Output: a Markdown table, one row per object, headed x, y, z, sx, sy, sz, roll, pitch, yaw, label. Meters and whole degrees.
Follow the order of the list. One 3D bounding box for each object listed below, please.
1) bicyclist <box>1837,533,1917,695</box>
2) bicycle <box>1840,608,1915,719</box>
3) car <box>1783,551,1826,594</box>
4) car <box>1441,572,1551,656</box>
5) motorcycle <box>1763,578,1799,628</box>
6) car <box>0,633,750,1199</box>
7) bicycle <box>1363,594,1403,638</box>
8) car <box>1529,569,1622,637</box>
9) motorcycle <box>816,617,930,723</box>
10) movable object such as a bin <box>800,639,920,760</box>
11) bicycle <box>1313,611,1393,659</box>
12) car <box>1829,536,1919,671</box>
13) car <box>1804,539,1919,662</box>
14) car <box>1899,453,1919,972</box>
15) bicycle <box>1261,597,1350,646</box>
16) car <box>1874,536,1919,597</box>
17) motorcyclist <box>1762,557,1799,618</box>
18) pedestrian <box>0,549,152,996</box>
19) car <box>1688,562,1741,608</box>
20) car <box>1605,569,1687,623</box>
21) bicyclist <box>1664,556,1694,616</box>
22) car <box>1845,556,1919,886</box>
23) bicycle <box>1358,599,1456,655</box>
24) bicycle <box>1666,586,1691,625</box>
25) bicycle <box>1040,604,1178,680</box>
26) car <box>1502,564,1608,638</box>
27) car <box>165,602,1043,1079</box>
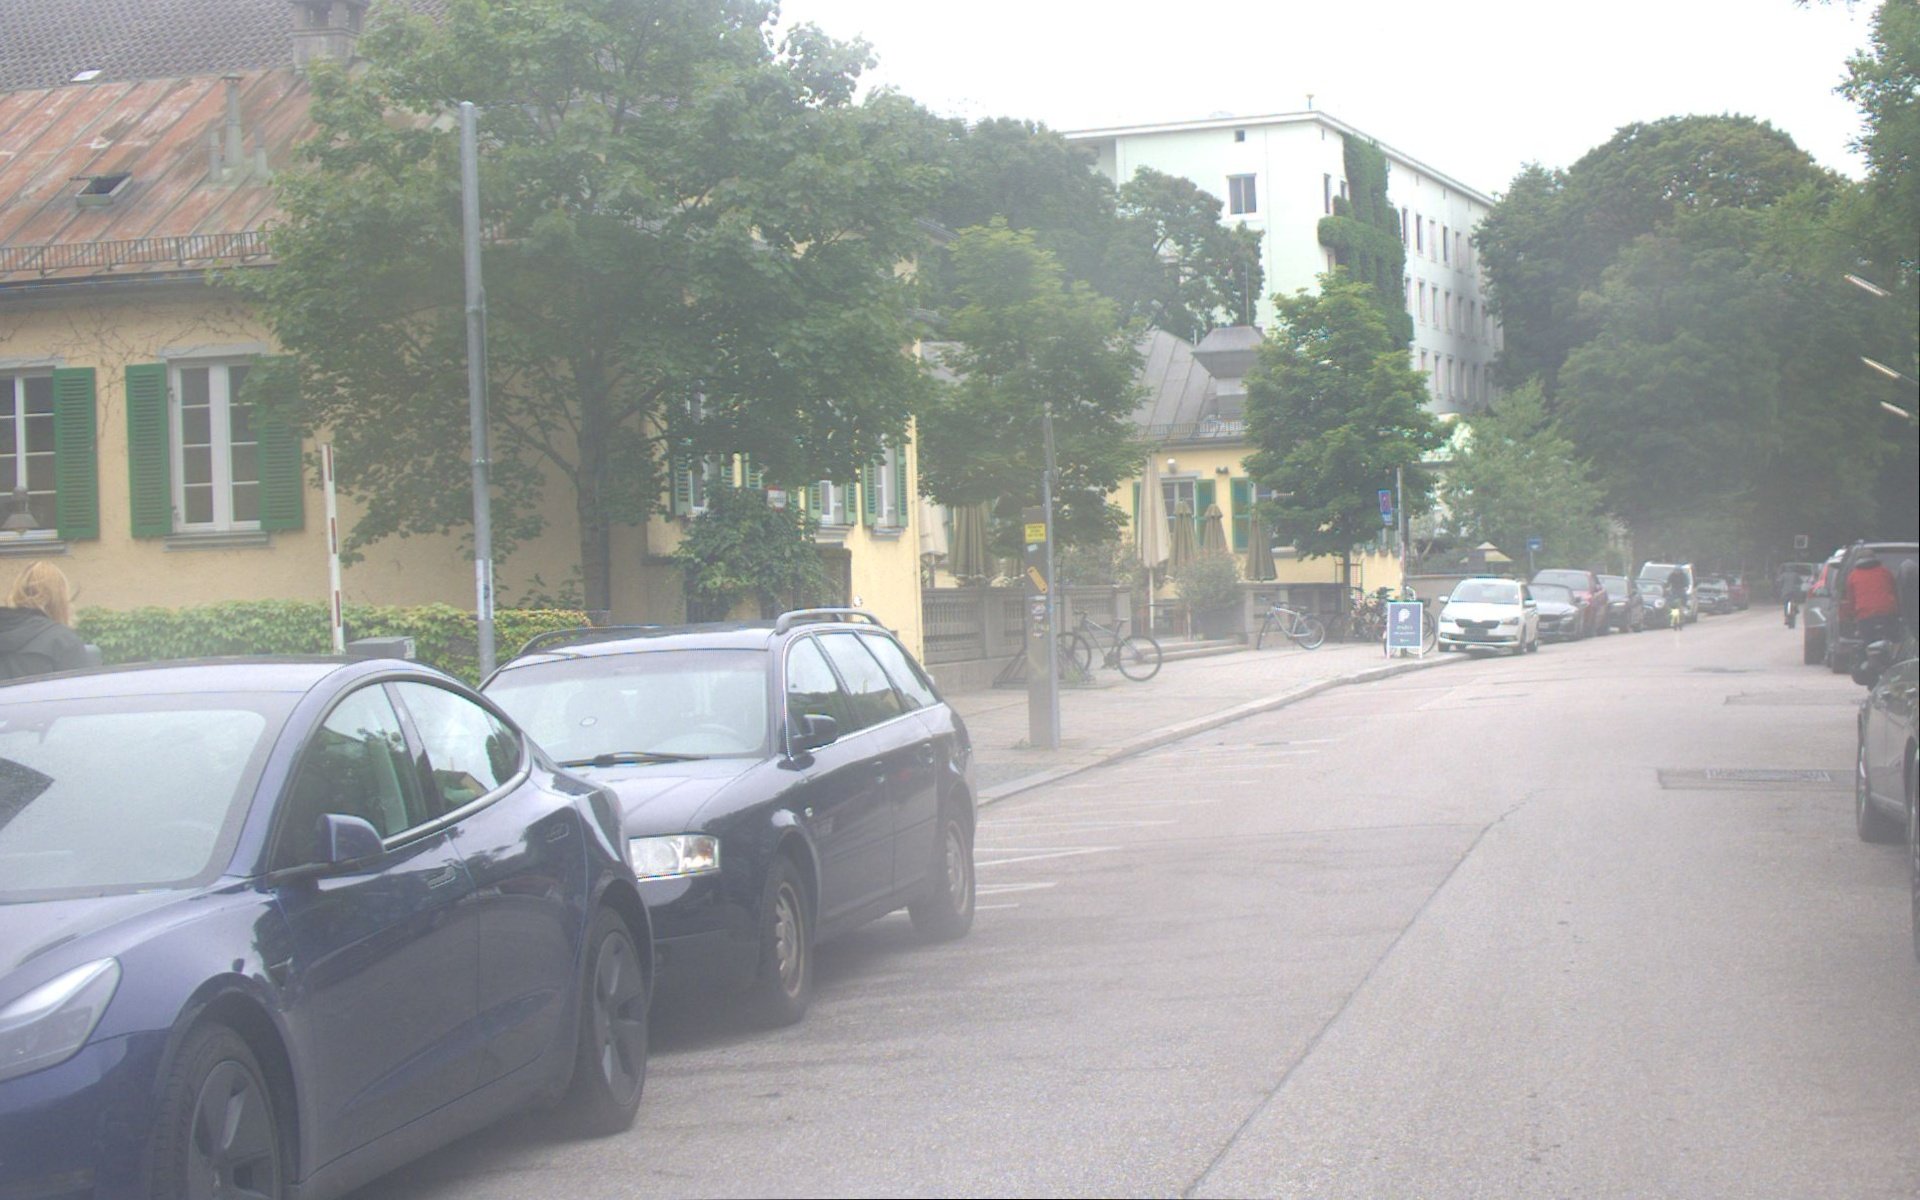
| x | y | z | sx | sy | sz | roll | pitch | yaw | label |
| --- | --- | --- | --- | --- | --- | --- | --- | --- | --- |
| 8.687 | 0.141 | 32.555 | 0.672 | 1.492 | 1.094 | -2 | -2 | 16 | bicyclist |
| 8.705 | 0.599 | 32.618 | 0.622 | 1.001 | 2.138 | -2 | -1 | 15 | bicycle |
| 41.467 | -1.361 | 168.783 | 1.995 | 2.091 | 3.997 | 1 | 1 | 15 | car |
| 10.721 | 0.252 | 68.614 | 1.735 | 1.576 | 3.785 | 1 | 1 | 15 | car |
| 20.636 | 0.065 | 86.389 | 0.660 | 1.202 | 2.240 | -2 | 0 | 18 | motorcycle |
| -2.113 | 0.887 | 8.808 | 1.923 | 1.434 | 4.916 | -4 | -1 | 11 | car |
| 9.954 | 0.379 | 80.806 | 0.622 | 1.001 | 1.617 | -1 | -1 | 18 | bicycle |
| 15.368 | 0.079 | 85.669 | 1.995 | 1.597 | 3.997 | -1 | -1 | 14 | car |
| -0.957 | 0.747 | 37.186 | 0.557 | 1.097 | 1.838 | -1 | 0 | -24 | motorcycle |
| -0.925 | 0.919 | 31.986 | 0.935 | 1.060 | 0.840 | -2 | 1 | 10 | movable object such as a bin |
| 8.620 | 0.774 | 75.445 | 1.613 | 1.001 | 0.623 | -1 | -2 | -24 | bicycle |
| 13.288 | 0.021 | 48.632 | 1.761 | 1.817 | 4.137 | -1 | 0 | 12 | car |
| 14.147 | -0.022 | 53.381 | 1.864 | 1.788 | 4.506 | -2 | 0 | 15 | car |
| 4.155 | 0.441 | 10.928 | 1.846 | 1.926 | 5.270 | 1 | 1 | 11 | car |
| 6.943 | 0.425 | 69.080 | 1.613 | 0.922 | 0.651 | -2 | -1 | -12 | bicycle |
| 33.010 | -1.170 | 119.912 | 1.994 | 2.053 | 4.621 | -1 | 0 | 13 | car |
| 20.614 | -0.310 | 86.383 | 0.792 | 1.505 | 1.147 | -2 | -1 | 18 | motorcyclist |
| -3.774 | 0.682 | 13.978 | 0.753 | 1.743 | 0.953 | -2 | 0 | -4 | pedestrian |
| 29.198 | -0.589 | 132.942 | 1.811 | 1.677 | 3.997 | -2 | 0 | 15 | car |
| 20.528 | -0.132 | 102.791 | 1.995 | 1.481 | 3.997 | -2 | 0 | 17 | car |
| 19.168 | -0.373 | 91.654 | 0.743 | 1.570 | 0.976 | -2 | 0 | 11 | bicyclist |
| 5.446 | 0.535 | 16.767 | 1.772 | 1.485 | 4.971 | 1 | 1 | 10 | car |
| 8.393 | 0.494 | 64.520 | 2.134 | 1.001 | 0.623 | -1 | 2 | -44 | bicycle |
| 19.160 | 0.148 | 91.690 | 0.622 | 1.001 | 2.139 | -2 | 0 | 11 | bicycle |
| 2.197 | 0.607 | 50.667 | 1.932 | 1.095 | 0.614 | 0 | 1 | 16 | bicycle |
| 14.011 | -0.001 | 80.768 | 1.995 | 1.643 | 4.652 | -2 | 0 | 15 | car |
| -1.174 | 0.830 | 13.987 | 1.995 | 1.486 | 4.880 | -3 | 0 | 13 | car |
